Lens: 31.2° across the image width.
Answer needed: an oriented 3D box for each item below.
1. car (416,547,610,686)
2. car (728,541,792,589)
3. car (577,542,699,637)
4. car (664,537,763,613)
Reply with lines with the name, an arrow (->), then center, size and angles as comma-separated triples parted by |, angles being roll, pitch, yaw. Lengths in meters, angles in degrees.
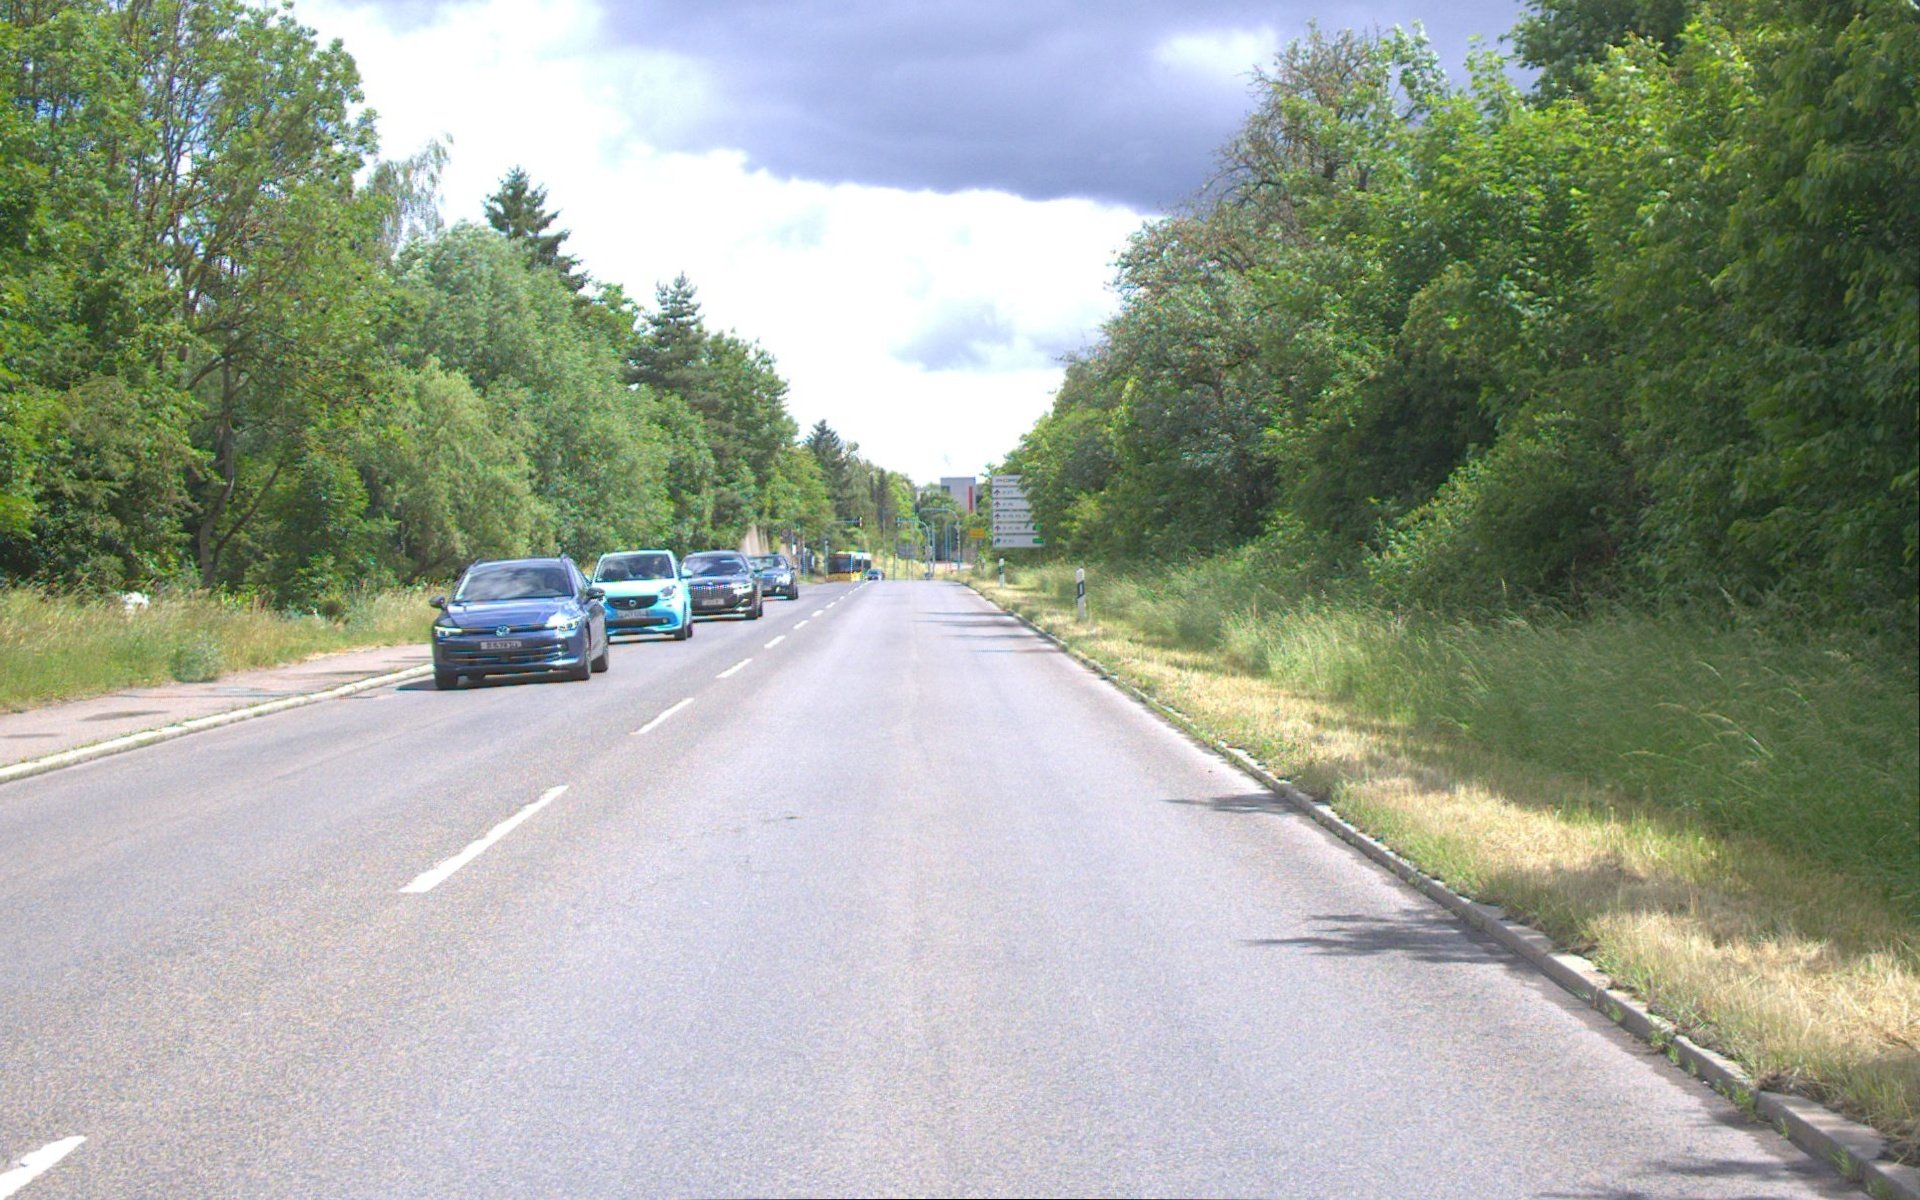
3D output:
car -> -5.213, 0.146, 40.551 | 1.784, 1.441, 4.453 | -3, 1, -2
car -> -6.039, -1.077, 104.190 | 1.784, 1.329, 4.623 | -3, 1, -2
car -> -5.361, -0.196, 57.518 | 1.784, 1.441, 2.967 | -3, 1, -2
car -> -5.321, -0.569, 74.738 | 1.884, 1.486, 4.718 | -3, 1, -2
